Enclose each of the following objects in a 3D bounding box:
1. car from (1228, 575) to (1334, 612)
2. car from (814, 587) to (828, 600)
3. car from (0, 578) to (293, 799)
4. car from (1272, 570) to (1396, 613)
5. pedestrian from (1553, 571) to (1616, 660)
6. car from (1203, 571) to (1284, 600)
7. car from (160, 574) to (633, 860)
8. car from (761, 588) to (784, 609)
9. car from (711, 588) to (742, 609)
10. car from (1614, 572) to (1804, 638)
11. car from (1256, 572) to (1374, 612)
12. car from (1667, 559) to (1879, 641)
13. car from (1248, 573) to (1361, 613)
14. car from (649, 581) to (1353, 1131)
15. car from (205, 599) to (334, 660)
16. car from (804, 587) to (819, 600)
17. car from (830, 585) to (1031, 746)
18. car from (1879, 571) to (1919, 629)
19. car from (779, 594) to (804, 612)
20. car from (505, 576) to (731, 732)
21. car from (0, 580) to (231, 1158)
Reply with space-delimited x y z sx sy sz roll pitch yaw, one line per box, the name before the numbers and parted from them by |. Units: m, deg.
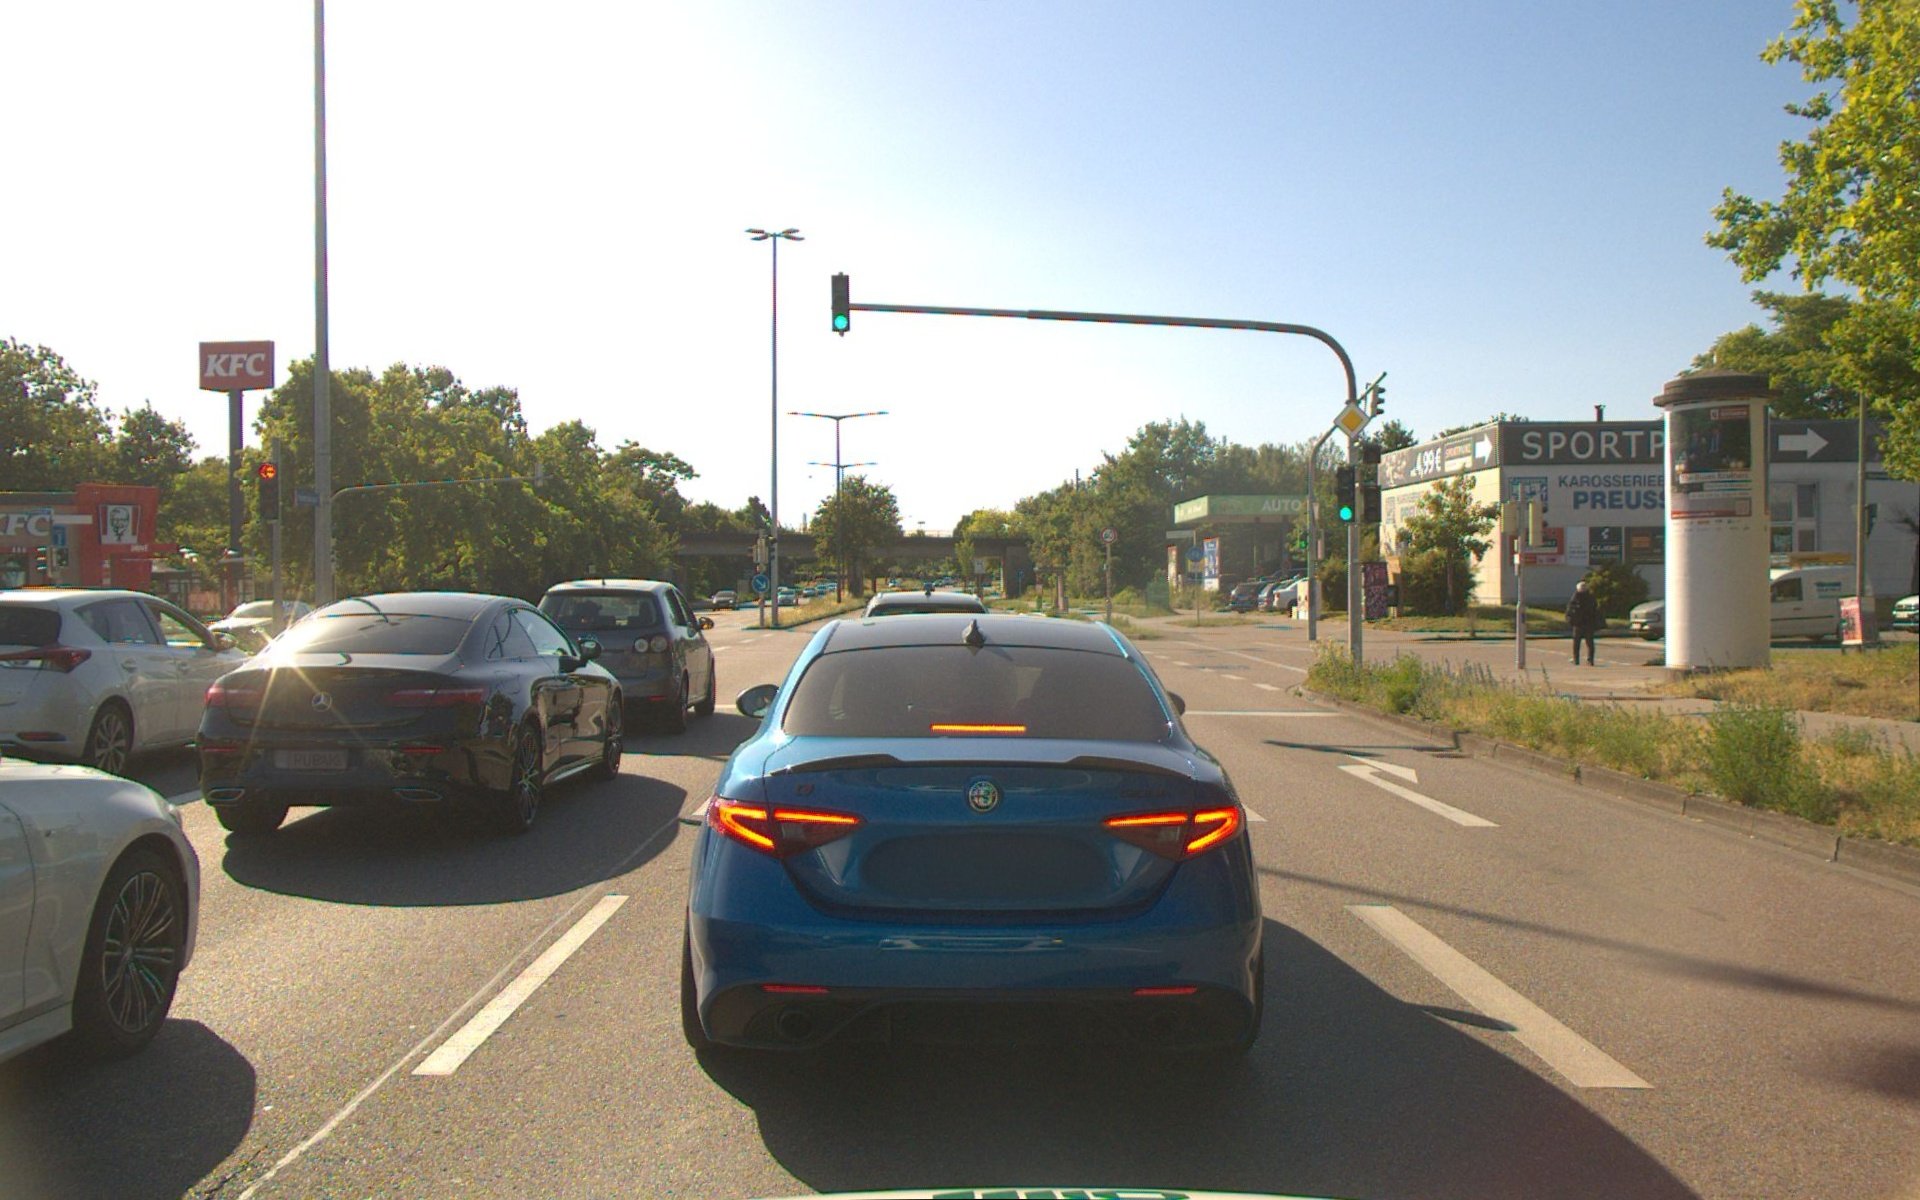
car | 14.400 -0.290 74.372 4.397 1.479 1.858 -2 0 1
car | -19.064 -0.889 226.694 1.577 1.675 3.462 1 0 -1
car | -7.111 0.610 13.504 1.723 1.516 4.195 1 0 -2
car | 14.609 -0.322 64.793 4.397 1.479 1.858 -2 0 1
pedestrian | 12.655 0.321 33.540 0.906 1.765 0.938 1 -1 -1
car | 16.723 -0.849 97.580 4.457 1.516 1.765 -2 0 1
car | -3.475 0.640 11.159 1.760 1.516 4.474 1 0 -2
car | -19.635 -0.146 173.466 1.953 2.049 3.999 1 0 -1
car | -18.010 -0.099 127.717 1.723 1.516 4.477 -2 0 -1
car | 19.596 0.109 43.374 4.201 1.576 1.764 -1 2 -2
car | 14.485 -0.322 67.570 4.397 1.479 1.858 -2 0 1
car | 19.626 -0.027 40.039 4.293 1.833 1.764 -1 2 -2
car | 14.629 -0.298 70.326 4.397 1.479 1.858 -2 0 1
car | 0.050 0.696 6.603 1.857 1.443 4.401 1 0 -2
car | -19.410 0.793 46.711 1.723 1.516 4.477 -3 0 -1
car | -18.795 -0.787 209.677 1.583 1.586 3.357 1 0 -1
car | -0.336 0.605 17.246 1.813 1.443 4.401 1 0 -2
car | 26.757 -0.061 43.722 3.960 1.516 1.782 -2 0 -3
car | -14.630 0.269 143.699 1.723 1.516 3.836 -2 0 -1
car | -3.680 0.545 18.538 1.723 1.516 4.401 1 0 -2
car | -3.357 0.689 3.522 1.749 1.516 4.401 1 0 -2
